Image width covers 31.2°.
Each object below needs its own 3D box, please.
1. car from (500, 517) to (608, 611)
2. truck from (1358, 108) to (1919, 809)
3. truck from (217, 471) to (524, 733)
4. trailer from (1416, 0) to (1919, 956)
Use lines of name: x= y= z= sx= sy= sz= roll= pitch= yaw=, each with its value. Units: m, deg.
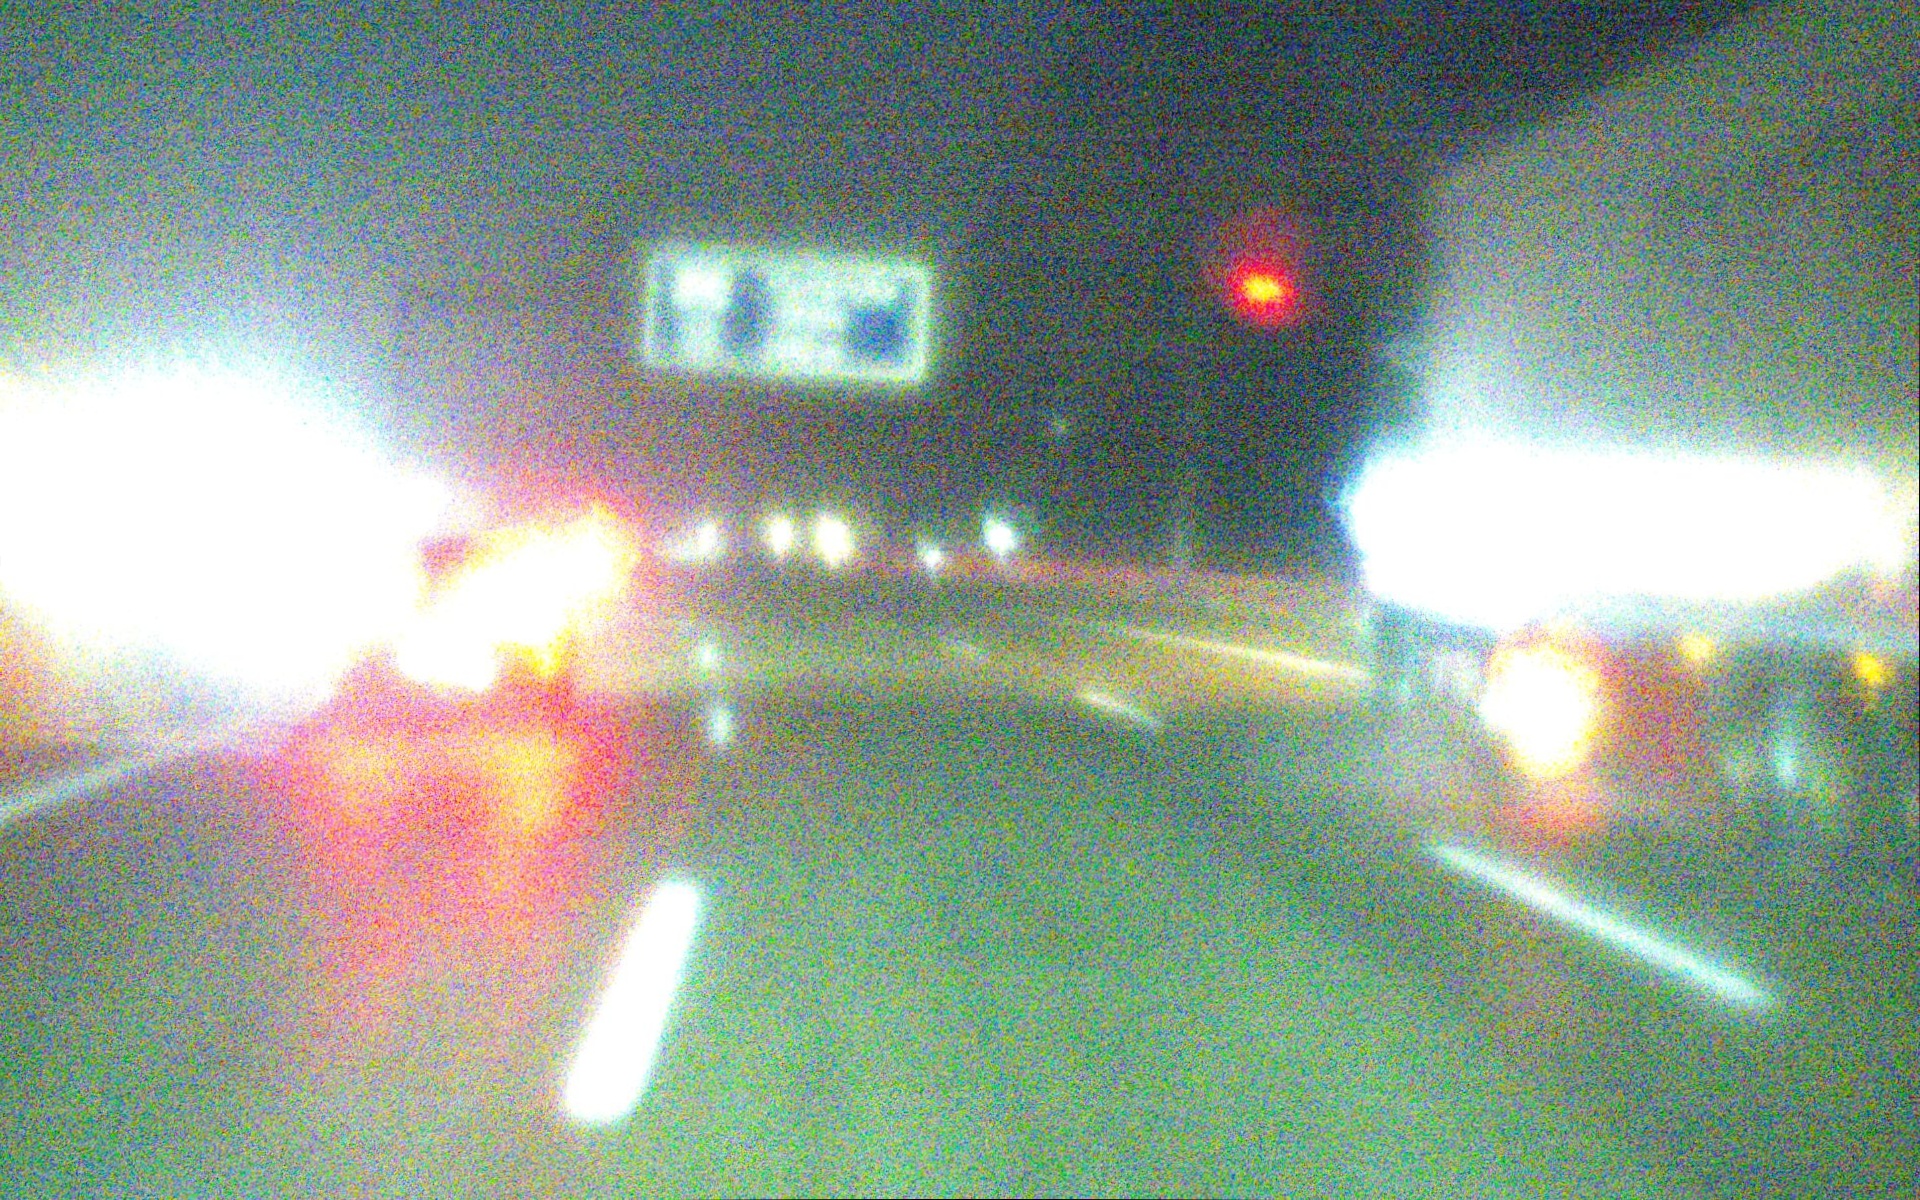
car: x=-9.833 y=-0.903 z=83.512 sx=1.993 sy=2.006 sz=4.001 roll=4 pitch=2 yaw=0
truck: x=4.529 y=-0.906 z=23.456 sx=2.710 sy=4.227 sz=5.294 roll=0 pitch=1 yaw=-3
truck: x=-5.203 y=-0.108 z=31.219 sx=2.144 sy=2.070 sz=6.605 roll=-1 pitch=2 yaw=-5
trailer: x=4.854 y=-0.811 z=17.128 sx=2.739 sy=4.233 sz=13.373 roll=0 pitch=1 yaw=-3
